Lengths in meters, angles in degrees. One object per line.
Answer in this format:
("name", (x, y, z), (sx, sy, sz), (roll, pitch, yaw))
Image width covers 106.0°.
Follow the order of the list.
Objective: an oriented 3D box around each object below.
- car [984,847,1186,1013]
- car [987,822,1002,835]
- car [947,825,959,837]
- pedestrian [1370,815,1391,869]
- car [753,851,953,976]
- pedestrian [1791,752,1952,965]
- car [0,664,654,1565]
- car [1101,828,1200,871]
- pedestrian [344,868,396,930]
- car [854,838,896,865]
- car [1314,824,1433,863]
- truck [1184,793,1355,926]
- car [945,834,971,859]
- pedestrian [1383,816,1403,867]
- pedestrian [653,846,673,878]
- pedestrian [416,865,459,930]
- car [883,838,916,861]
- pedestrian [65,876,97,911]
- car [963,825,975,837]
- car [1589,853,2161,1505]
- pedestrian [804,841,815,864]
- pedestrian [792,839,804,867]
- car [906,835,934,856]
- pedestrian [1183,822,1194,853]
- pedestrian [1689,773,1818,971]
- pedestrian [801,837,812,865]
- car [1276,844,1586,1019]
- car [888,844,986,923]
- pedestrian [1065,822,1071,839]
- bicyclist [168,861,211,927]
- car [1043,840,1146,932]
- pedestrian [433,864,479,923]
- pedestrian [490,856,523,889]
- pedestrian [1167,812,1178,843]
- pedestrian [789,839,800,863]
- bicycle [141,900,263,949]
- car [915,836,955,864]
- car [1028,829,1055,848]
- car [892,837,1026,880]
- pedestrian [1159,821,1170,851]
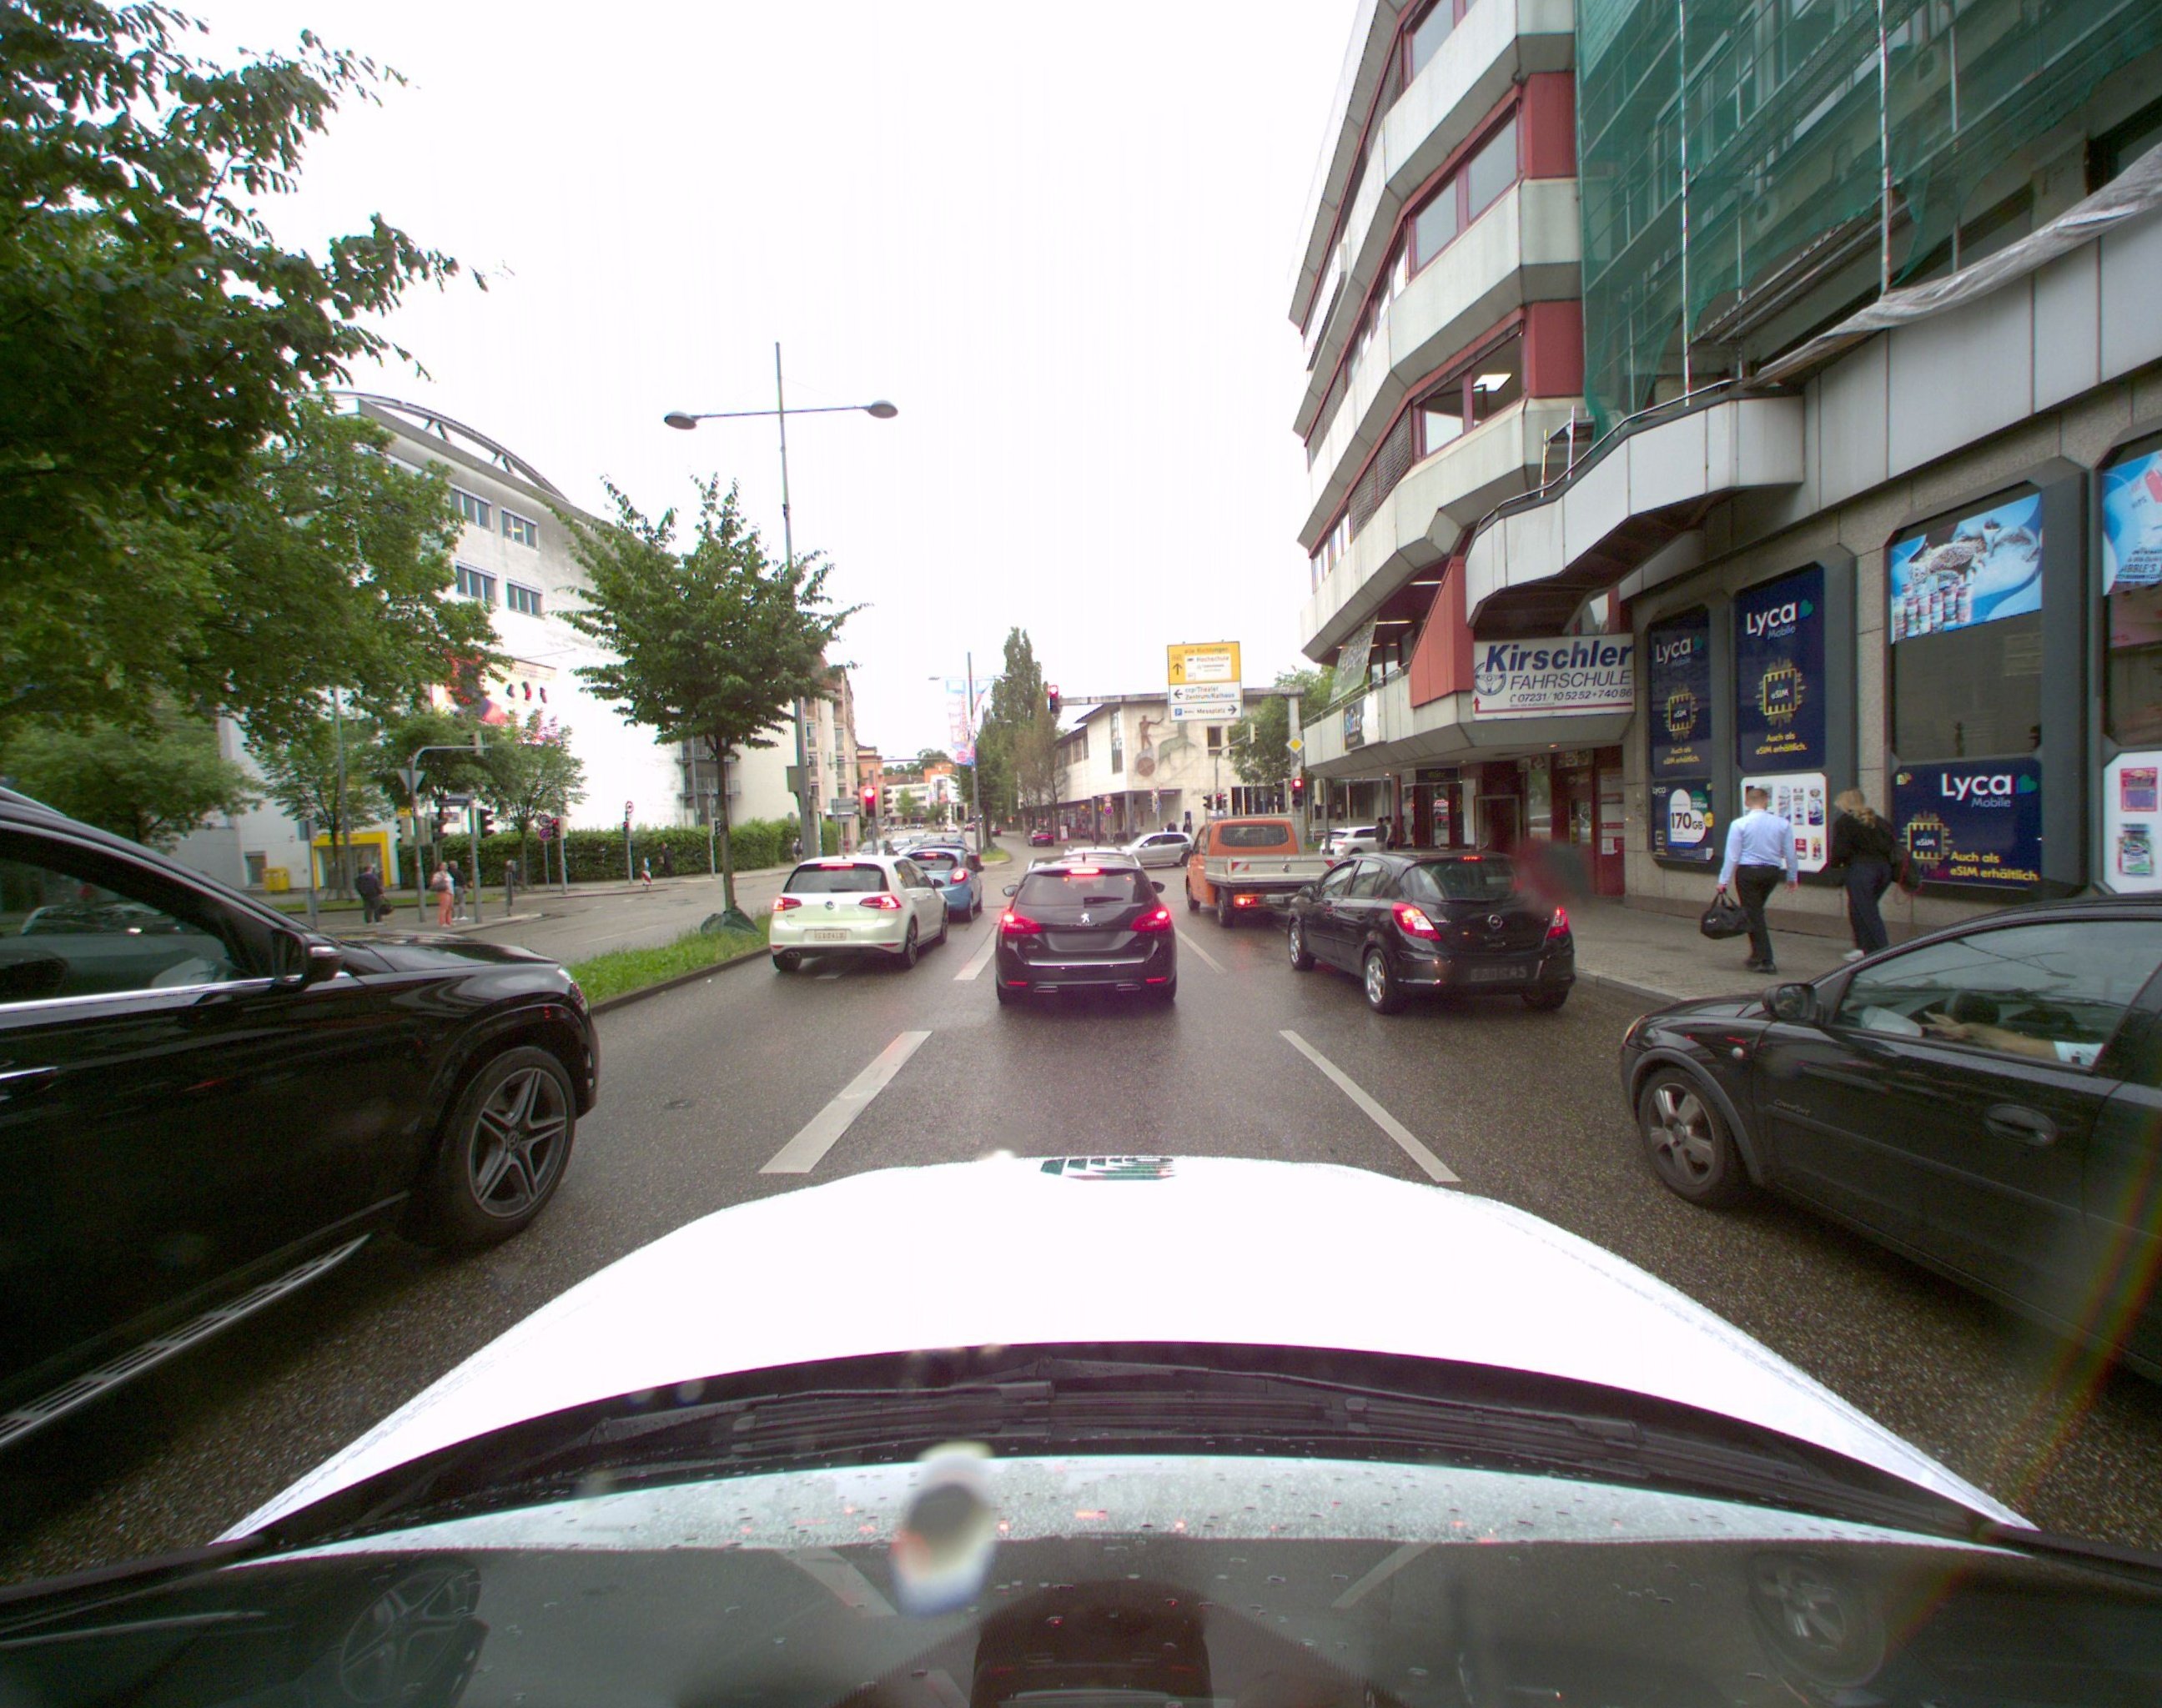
("car", (0.036, 0.657, 9.134), (1.772, 1.429, 3.842), (-1, 1, 0))
("car", (-11.996, -3.516, 112.266), (1.725, 1.490, 4.715), (0, -1, -11))
("car", (-23.053, -4.153, 146.899), (1.709, 1.882, 3.979), (0, -1, -15))
("pedestrian", (9.629, -0.374, 26.180), (0.424, 1.682, 0.450), (-3, -1, 0))
("car", (-3.030, 0.705, 11.659), (1.772, 1.429, 3.841), (-1, 1, 0))
("pedestrian", (7.690, 0.044, 7.957), (0.733, 1.934, 0.640), (-5, -1, 1))
("car", (-3.200, 0.548, 1.670), (1.905, 1.870, 5.073), (-1, -1, 1))
("car", (2.894, -0.212, 34.004), (3.746, 1.468, 1.631), (-4, 2, -14))
("pedestrian", (-21.025, 1.322, 24.091), (0.917, 1.784, 0.712), (-1, -1, 13))
("car", (-11.929, -0.192, 47.307), (1.569, 1.486, 3.608), (-1, 1, -1))
("car", (11.736, -0.447, 32.746), (4.296, 1.486, 1.631), (-1, 1, -13))
("truck", (3.433, 0.029, 15.958), (2.170, 2.172, 5.020), (-1, 1, 0))
("car", (-8.695, -0.469, 57.497), (1.743, 1.640, 3.988), (0, -1, -9))
("pedestrian", (10.158, -0.394, 26.531), (0.395, 1.640, 0.504), (-3, -1, 2))
("pedestrian", (-21.807, 0.420, 42.483), (0.730, 1.643, 0.638), (-1, -1, -6))
("pedestrian", (-17.055, 1.146, 21.600), (0.555, 1.661, 0.580), (-2, 2, 2))
("car", (-12.135, -0.350, 54.651), (1.630, 1.486, 3.604), (-1, 1, -4))
("pedestrian", (-48.525, 1.898, 39.505), (0.633, 1.643, 0.735), (-1, -1, 8))
("car", (-20.415, -4.192, 148.010), (1.709, 1.936, 3.979), (0, -1, -15))
("car", (3.267, 0.746, 2.268), (1.600, 1.429, 3.626), (-1, 1, 3))
("pedestrian", (-18.337, -0.099, 54.948), (0.579, 1.599, 0.526), (-1, -1, -5))
("pedestrian", (-17.533, -0.053, 50.499), (0.538, 1.748, 0.745), (0, -1, -7))
("car", (-12.180, -0.649, 61.654), (1.630, 1.486, 3.604), (-1, 1, -4))
("pedestrian", (6.603, -1.011, 50.072), (0.633, 1.897, 0.735), (-1, -1, 8))
("pedestrian", (6.806, 0.179, 8.275), (0.733, 1.935, 0.640), (-1, -1, 1))
("pedestrian", (-17.586, -0.202, 52.161), (0.538, 1.748, 0.564), (-1, -1, -3))
("car", (3.376, 0.621, 8.689), (1.611, 1.429, 3.840), (-1, 1, -1))
("car", (-3.010, 0.555, 17.676), (1.629, 1.486, 3.606), (-1, 1, -3))
("pedestrian", (-1.378, -2.505, 86.076), (0.469, 1.748, 0.537), (0, -1, -19))
("bicyclist", (-21.445, 0.967, 19.591), (0.625, 1.530, 0.613), (-4, -1, 38))
("car", (0.283, 0.505, 15.437), (1.690, 1.486, 3.795), (-1, 1, 2))
("pedestrian", (-18.331, 1.150, 23.909), (0.750, 1.661, 0.628), (-2, 2, 1))
("pedestrian", (-27.892, 0.911, 39.544), (1.059, 1.578, 0.683), (-1, -1, -3))
("pedestrian", (5.701, -1.649, 50.528), (0.633, 1.897, 0.735), (-1, -1, 8))
("pedestrian", (-18.991, -0.186, 53.964), (0.579, 1.599, 0.526), (-1, -1, -5))
("bicycle", (-21.279, 1.689, 19.757), (0.609, 1.000, 1.953), (-4, -1, 38))
("car", (-8.621, -0.204, 48.380), (1.739, 1.579, 3.997), (-1, -1, -1))
("car", (-3.523, -1.385, 71.562), (1.787, 1.454, 4.494), (-4, 3, -9))
("car", (-4.582, 0.126, 30.800), (4.749, 1.486, 1.623), (-1, 1, -28))
("pedestrian", (4.994, -1.061, 48.681), (0.633, 1.758, 0.735), (-1, -1, 8))
